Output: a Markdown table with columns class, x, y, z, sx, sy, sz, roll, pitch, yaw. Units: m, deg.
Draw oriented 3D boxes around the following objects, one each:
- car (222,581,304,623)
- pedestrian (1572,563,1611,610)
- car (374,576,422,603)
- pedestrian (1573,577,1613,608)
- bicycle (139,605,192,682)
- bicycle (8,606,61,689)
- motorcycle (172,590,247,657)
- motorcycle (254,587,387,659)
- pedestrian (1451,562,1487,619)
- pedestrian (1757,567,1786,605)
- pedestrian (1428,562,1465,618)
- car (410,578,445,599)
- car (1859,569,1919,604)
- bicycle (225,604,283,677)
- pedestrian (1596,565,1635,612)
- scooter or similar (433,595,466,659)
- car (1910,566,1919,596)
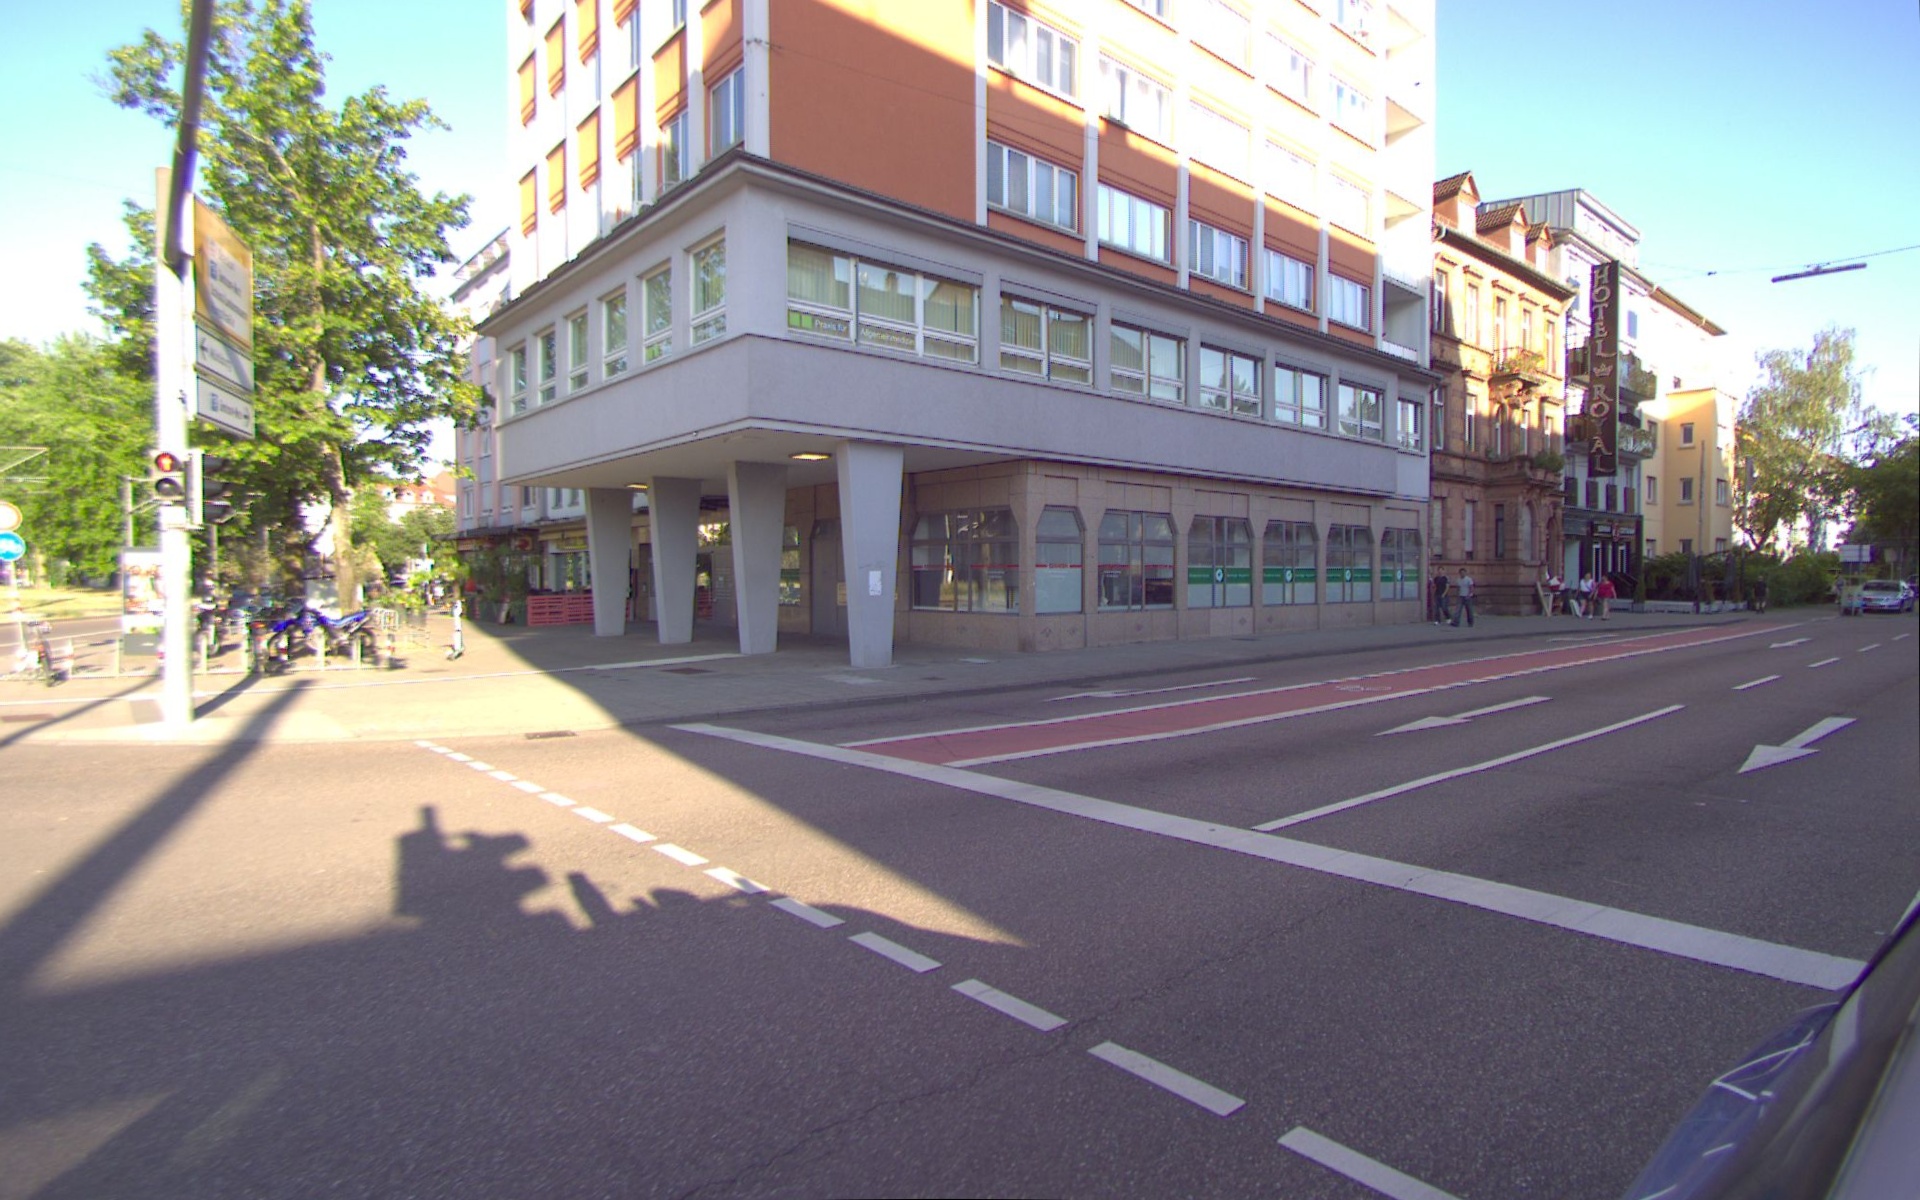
| class | x | y | z | sx | sy | sz | roll | pitch | yaw |
| --- | --- | --- | --- | --- | --- | --- | --- | --- | --- |
| car | -25.923 | 0.042 | 37.753 | 1.607 | 1.445 | 3.644 | -1 | 2 | -19 |
| pedestrian | 22.635 | -0.490 | 36.287 | 0.992 | 1.606 | 0.787 | -1 | 5 | -36 |
| car | -34.143 | -0.657 | 61.583 | 1.923 | 1.575 | 3.882 | -1 | 2 | -19 |
| pedestrian | 23.986 | -0.303 | 38.372 | 0.909 | 1.150 | 1.099 | -1 | 1 | -43 |
| bicycle | -13.524 | 0.702 | 17.211 | 0.584 | 1.128 | 2.004 | 0 | 3 | -42 |
| bicycle | -14.736 | 0.719 | 16.127 | 0.584 | 1.129 | 1.975 | -1 | 3 | -42 |
| motorcycle | -16.276 | 0.469 | 22.006 | 0.872 | 1.324 | 2.061 | -1 | 2 | -25 |
| motorcycle | -13.536 | 0.449 | 21.490 | 0.839 | 1.410 | 2.236 | -1 | 1 | 37 |
| pedestrian | 15.842 | -0.301 | 31.515 | 0.993 | 1.747 | 0.667 | -1 | 1 | -40 |
| pedestrian | 35.201 | -0.623 | 43.881 | 0.993 | 1.621 | 0.738 | -1 | 4 | -41 |
| pedestrian | 15.442 | -0.329 | 32.123 | 0.993 | 1.747 | 0.668 | -1 | 1 | -38 |
| car | -37.781 | -0.831 | 71.909 | 1.704 | 1.401 | 3.399 | -1 | 2 | -19 |
| car | 43.002 | -0.633 | 46.564 | 4.003 | 1.536 | 1.905 | -1 | 2 | -40 |
| bicycle | -12.606 | 0.690 | 18.051 | 0.584 | 1.128 | 2.058 | -1 | 3 | -43 |
| pedestrian | 23.041 | -0.415 | 35.593 | 0.992 | 1.606 | 0.739 | -1 | 5 | -36 |
| scooter or similar | -10.915 | 0.558 | 21.669 | 0.474 | 1.250 | 1.565 | -1 | 2 | -21 |
| car | 54.807 | -1.094 | 56.636 | 4.121 | 1.645 | 1.946 | -1 | 2 | -41 |
